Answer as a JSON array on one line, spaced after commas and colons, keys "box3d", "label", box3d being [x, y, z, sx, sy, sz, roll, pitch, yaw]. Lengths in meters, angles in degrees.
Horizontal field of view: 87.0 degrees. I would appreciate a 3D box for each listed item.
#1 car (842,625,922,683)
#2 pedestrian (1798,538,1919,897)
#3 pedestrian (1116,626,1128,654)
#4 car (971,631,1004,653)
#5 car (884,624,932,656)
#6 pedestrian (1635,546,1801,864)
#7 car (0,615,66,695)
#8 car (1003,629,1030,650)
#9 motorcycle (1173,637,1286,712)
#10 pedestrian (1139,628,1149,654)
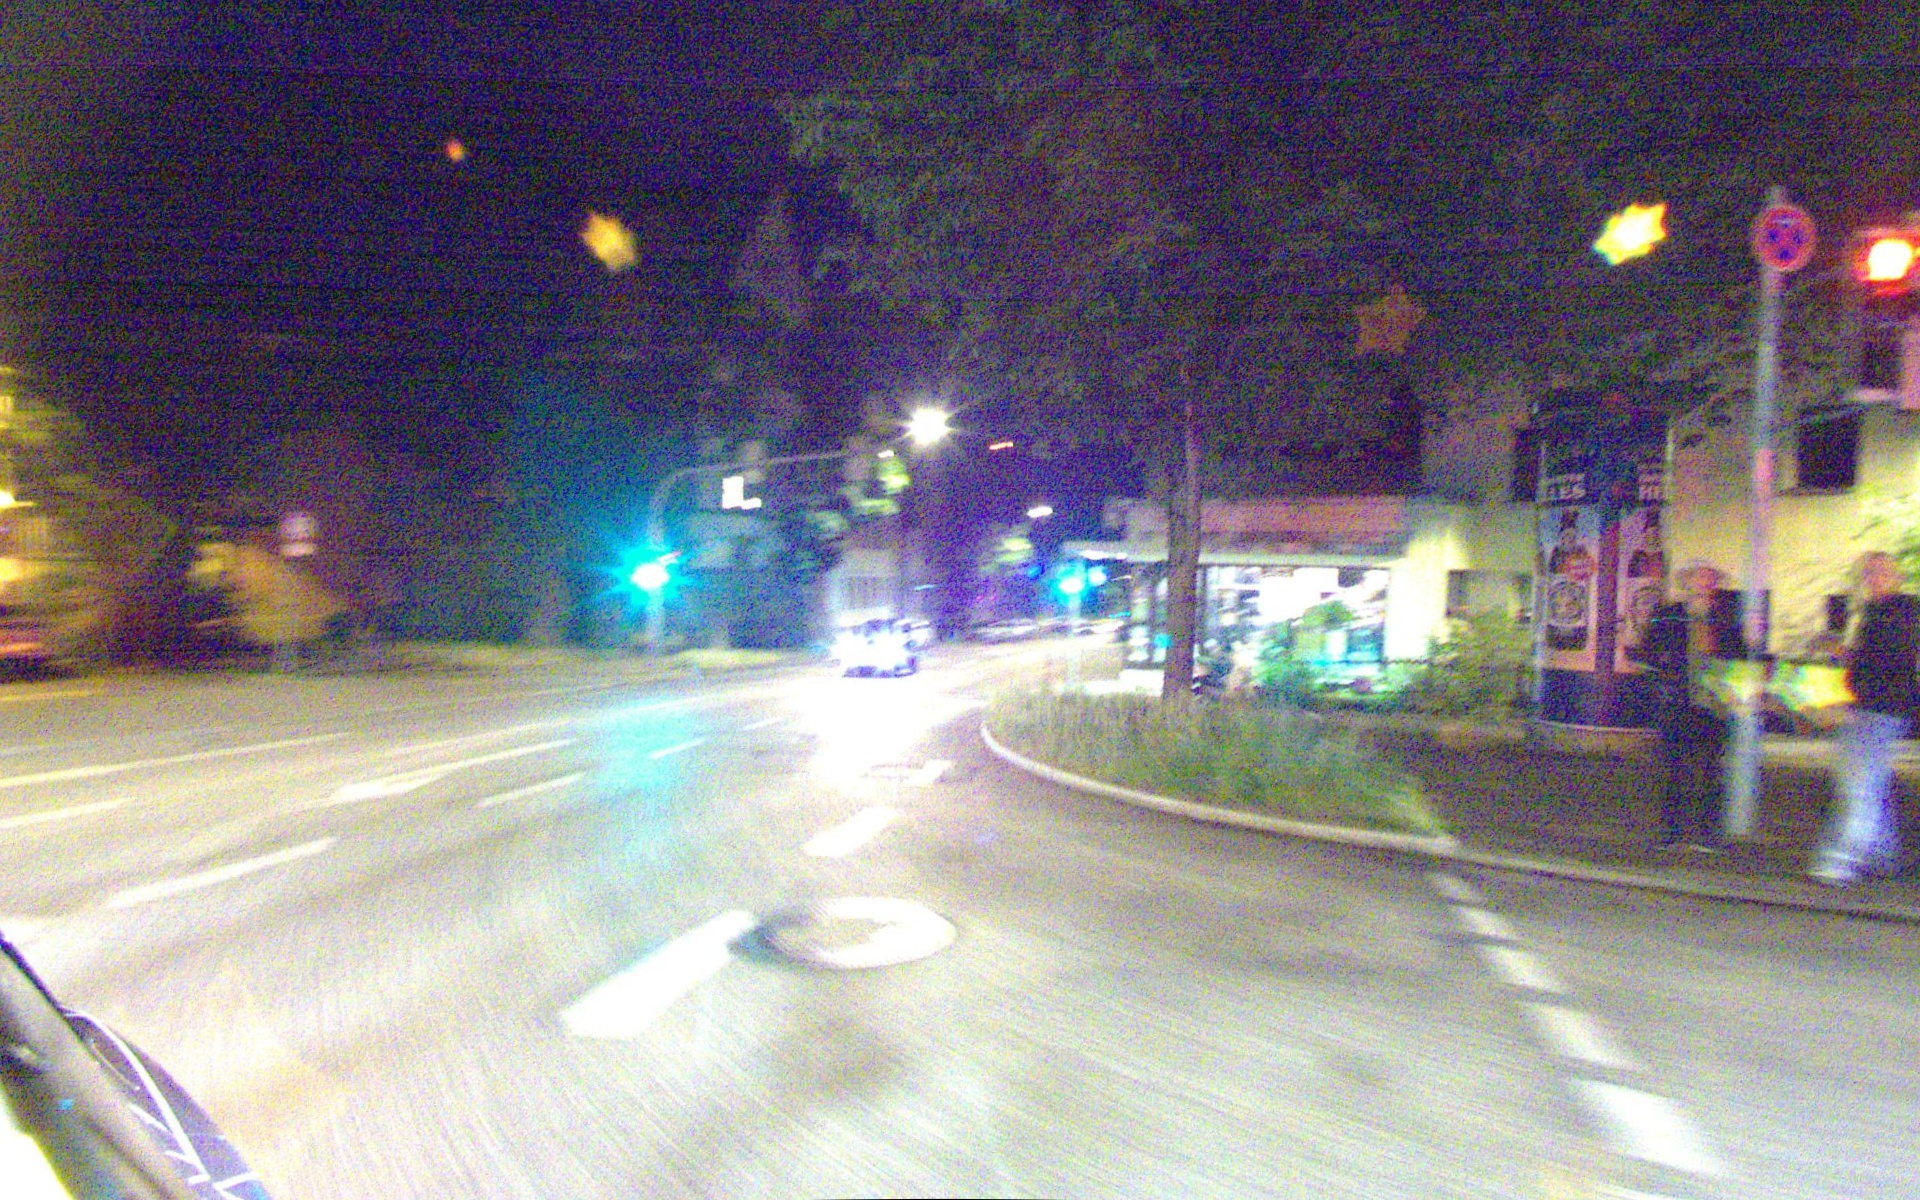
[{"box3d": [-2.135, 1.473, 28.311, 1.498, 1.513, 3.039, -1, -1, 10], "label": "car"}, {"box3d": [5.181, 0.583, 5.287, 0.957, 1.783, 0.725, -2, -2, 16], "label": "pedestrian"}, {"box3d": [9.807, 2.407, 61.154, 0.644, 1.654, 0.744, 0, -2, 15], "label": "pedestrian"}, {"box3d": [1.899, 2.859, 69.000, 1.522, 1.426, 3.393, 2, -1, 14], "label": "car"}, {"box3d": [-2.571, 1.985, 50.814, 1.610, 1.505, 3.396, 2, -1, 11], "label": "car"}, {"box3d": [4.581, 0.606, 6.161, 0.690, 1.806, 0.518, -2, -2, 31], "label": "pedestrian"}, {"box3d": [-20.750, 1.100, 20.661, 4.225, 1.567, 2.039, -1, -1, 21], "label": "car"}, {"box3d": [4.622, 3.209, 82.115, 1.522, 1.604, 3.540, 2, -1, 14], "label": "car"}, {"box3d": [4.705, 1.272, 17.820, 0.608, 1.239, 2.046, 1, -2, -32], "label": "motorcycle"}, {"box3d": [11.007, 2.434, 60.494, 0.556, 1.542, 0.587, 0, -2, 13], "label": "pedestrian"}]
